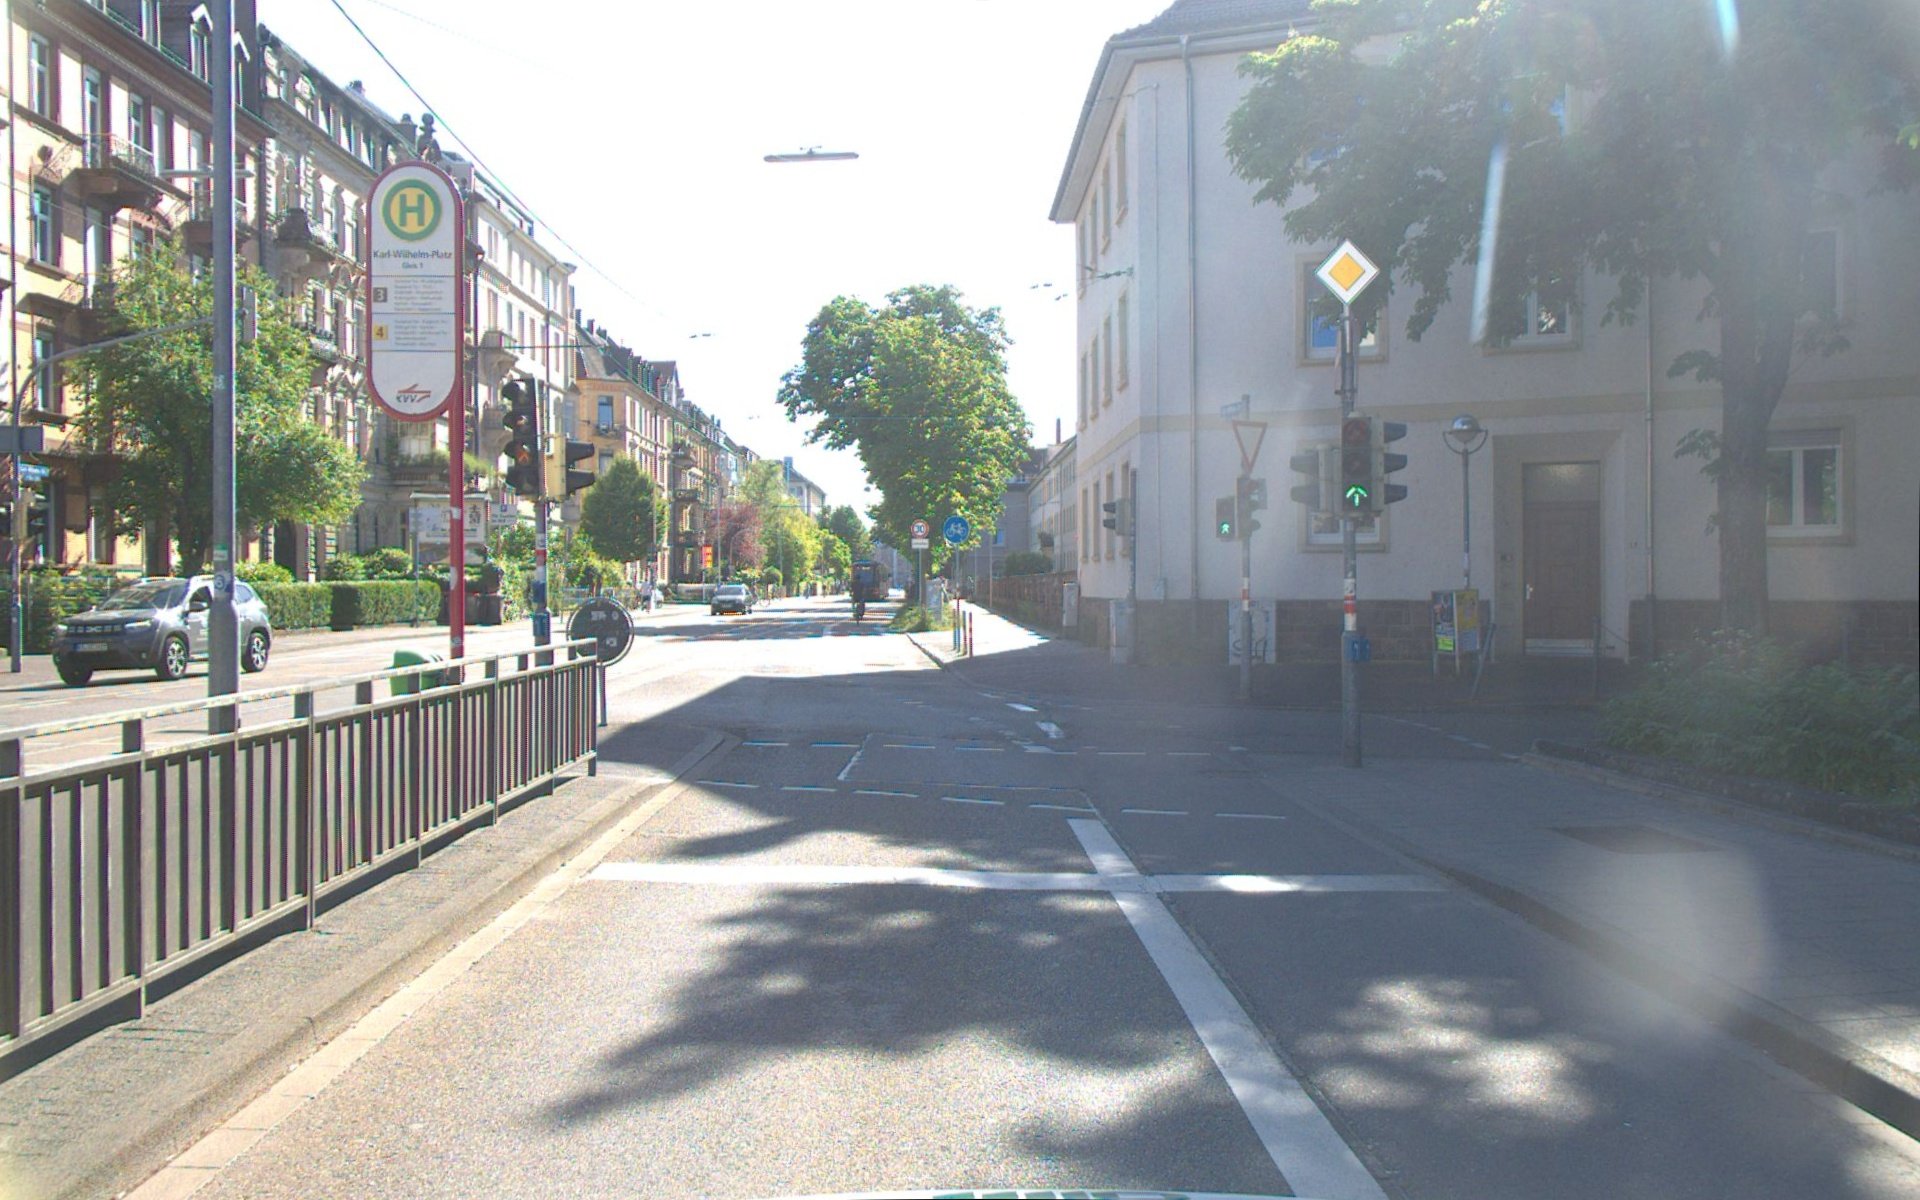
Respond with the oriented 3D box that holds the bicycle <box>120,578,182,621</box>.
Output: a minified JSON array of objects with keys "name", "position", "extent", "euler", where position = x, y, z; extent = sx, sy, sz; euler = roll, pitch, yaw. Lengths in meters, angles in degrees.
[{"name":"bicycle","position":[-18.216,-0.020,37.259],"extent":[0.334,0.942,1.944],"euler":[1,1,3]}]

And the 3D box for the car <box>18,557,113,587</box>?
[{"name":"car","position":[-51.090,-1.590,94.540],"extent":[4.354,1.672,1.967],"euler":[1,0,1]}]

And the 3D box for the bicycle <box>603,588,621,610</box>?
[{"name":"bicycle","position":[-17.146,-0.074,81.478],"extent":[0.552,1.051,1.767],"euler":[1,1,-2]}]

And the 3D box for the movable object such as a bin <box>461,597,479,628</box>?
[{"name":"movable object such as a bin","position":[-17.448,0.438,58.914],"extent":[0.469,1.105,0.541],"euler":[1,0,0]}]

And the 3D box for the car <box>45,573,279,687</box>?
[{"name":"car","position":[-12.925,0.435,27.104],"extent":[1.859,1.646,4.263],"euler":[-2,1,-3]}]

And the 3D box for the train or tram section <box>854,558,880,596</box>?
[{"name":"train or tram section","position":[-8.650,-2.165,154.722],"extent":[2.110,3.491,6.610],"euler":[1,1,-1]}]

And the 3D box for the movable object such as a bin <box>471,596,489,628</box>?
[{"name":"movable object such as a bin","position":[-17.318,0.430,59.706],"extent":[0.469,1.105,0.541],"euler":[1,0,0]}]

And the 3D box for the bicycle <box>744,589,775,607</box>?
[{"name":"bicycle","position":[-12.949,-0.155,107.016],"extent":[1.885,1.132,0.689],"euler":[1,1,-24]}]

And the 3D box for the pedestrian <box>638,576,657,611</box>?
[{"name":"pedestrian","position":[-16.105,-0.319,85.238],"extent":[0.812,1.754,1.082],"euler":[1,-1,-2]}]

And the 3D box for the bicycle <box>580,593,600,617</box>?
[{"name":"bicycle","position":[-17.238,0.210,77.103],"extent":[0.551,1.051,1.768],"euler":[1,2,-1]}]

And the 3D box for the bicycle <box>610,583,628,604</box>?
[{"name":"bicycle","position":[-17.303,-0.349,83.948],"extent":[0.552,1.051,1.767],"euler":[1,1,-2]}]

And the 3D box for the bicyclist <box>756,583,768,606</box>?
[{"name":"bicyclist","position":[-12.828,-0.362,107.082],"extent":[0.605,1.493,0.633],"euler":[1,0,-23]}]

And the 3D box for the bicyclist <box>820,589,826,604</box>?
[{"name":"bicyclist","position":[-16.322,-0.435,196.664],"extent":[0.647,1.833,0.616],"euler":[-2,0,-1]}]

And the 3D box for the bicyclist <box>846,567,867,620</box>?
[{"name":"bicyclist","position":[-3.764,-0.238,60.002],"extent":[0.713,1.880,0.836],"euler":[1,0,-2]}]

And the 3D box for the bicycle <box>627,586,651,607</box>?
[{"name":"bicycle","position":[-17.250,-0.194,88.777],"extent":[0.559,1.051,1.744],"euler":[0,2,-37]}]

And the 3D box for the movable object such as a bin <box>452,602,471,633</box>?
[{"name":"movable object such as a bin","position":[-17.948,0.620,59.557],"extent":[0.469,1.105,0.541],"euler":[1,0,0]}]

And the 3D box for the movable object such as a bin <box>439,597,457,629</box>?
[{"name":"movable object such as a bin","position":[-18.170,0.449,58.718],"extent":[0.469,1.105,0.541],"euler":[1,0,0]}]

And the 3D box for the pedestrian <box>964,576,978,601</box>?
[{"name":"pedestrian","position":[0.792,-0.813,118.112],"extent":[0.748,1.754,0.579],"euler":[1,0,28]}]

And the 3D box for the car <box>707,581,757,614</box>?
[{"name":"car","position":[-11.391,-0.138,82.871],"extent":[1.795,1.544,4.966],"euler":[2,1,-1]}]

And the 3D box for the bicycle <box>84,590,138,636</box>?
[{"name":"bicycle","position":[-18.179,0.275,35.449],"extent":[0.334,0.942,1.453],"euler":[1,1,3]}]

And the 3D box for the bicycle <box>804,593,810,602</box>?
[{"name":"bicycle","position":[-15.780,-0.261,171.007],"extent":[0.451,0.942,2.202],"euler":[-2,1,-1]}]

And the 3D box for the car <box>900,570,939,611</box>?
[{"name":"car","position":[-1.872,-0.452,75.253],"extent":[1.708,1.797,4.476],"euler":[1,1,-2]}]

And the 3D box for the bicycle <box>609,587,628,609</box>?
[{"name":"bicycle","position":[-17.801,-0.120,86.162],"extent":[0.556,1.051,1.753],"euler":[3,1,-25]}]

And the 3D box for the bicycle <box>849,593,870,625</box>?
[{"name":"bicycle","position":[-3.652,0.319,59.988],"extent":[0.677,1.132,1.718],"euler":[1,1,-1]}]

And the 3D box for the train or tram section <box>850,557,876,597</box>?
[{"name":"train or tram section","position":[-8.662,-2.084,148.089],"extent":[2.110,3.491,6.610],"euler":[1,1,-1]}]

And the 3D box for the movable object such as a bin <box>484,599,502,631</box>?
[{"name":"movable object such as a bin","position":[-16.806,0.534,59.523],"extent":[0.469,1.105,0.541],"euler":[1,0,0]}]
